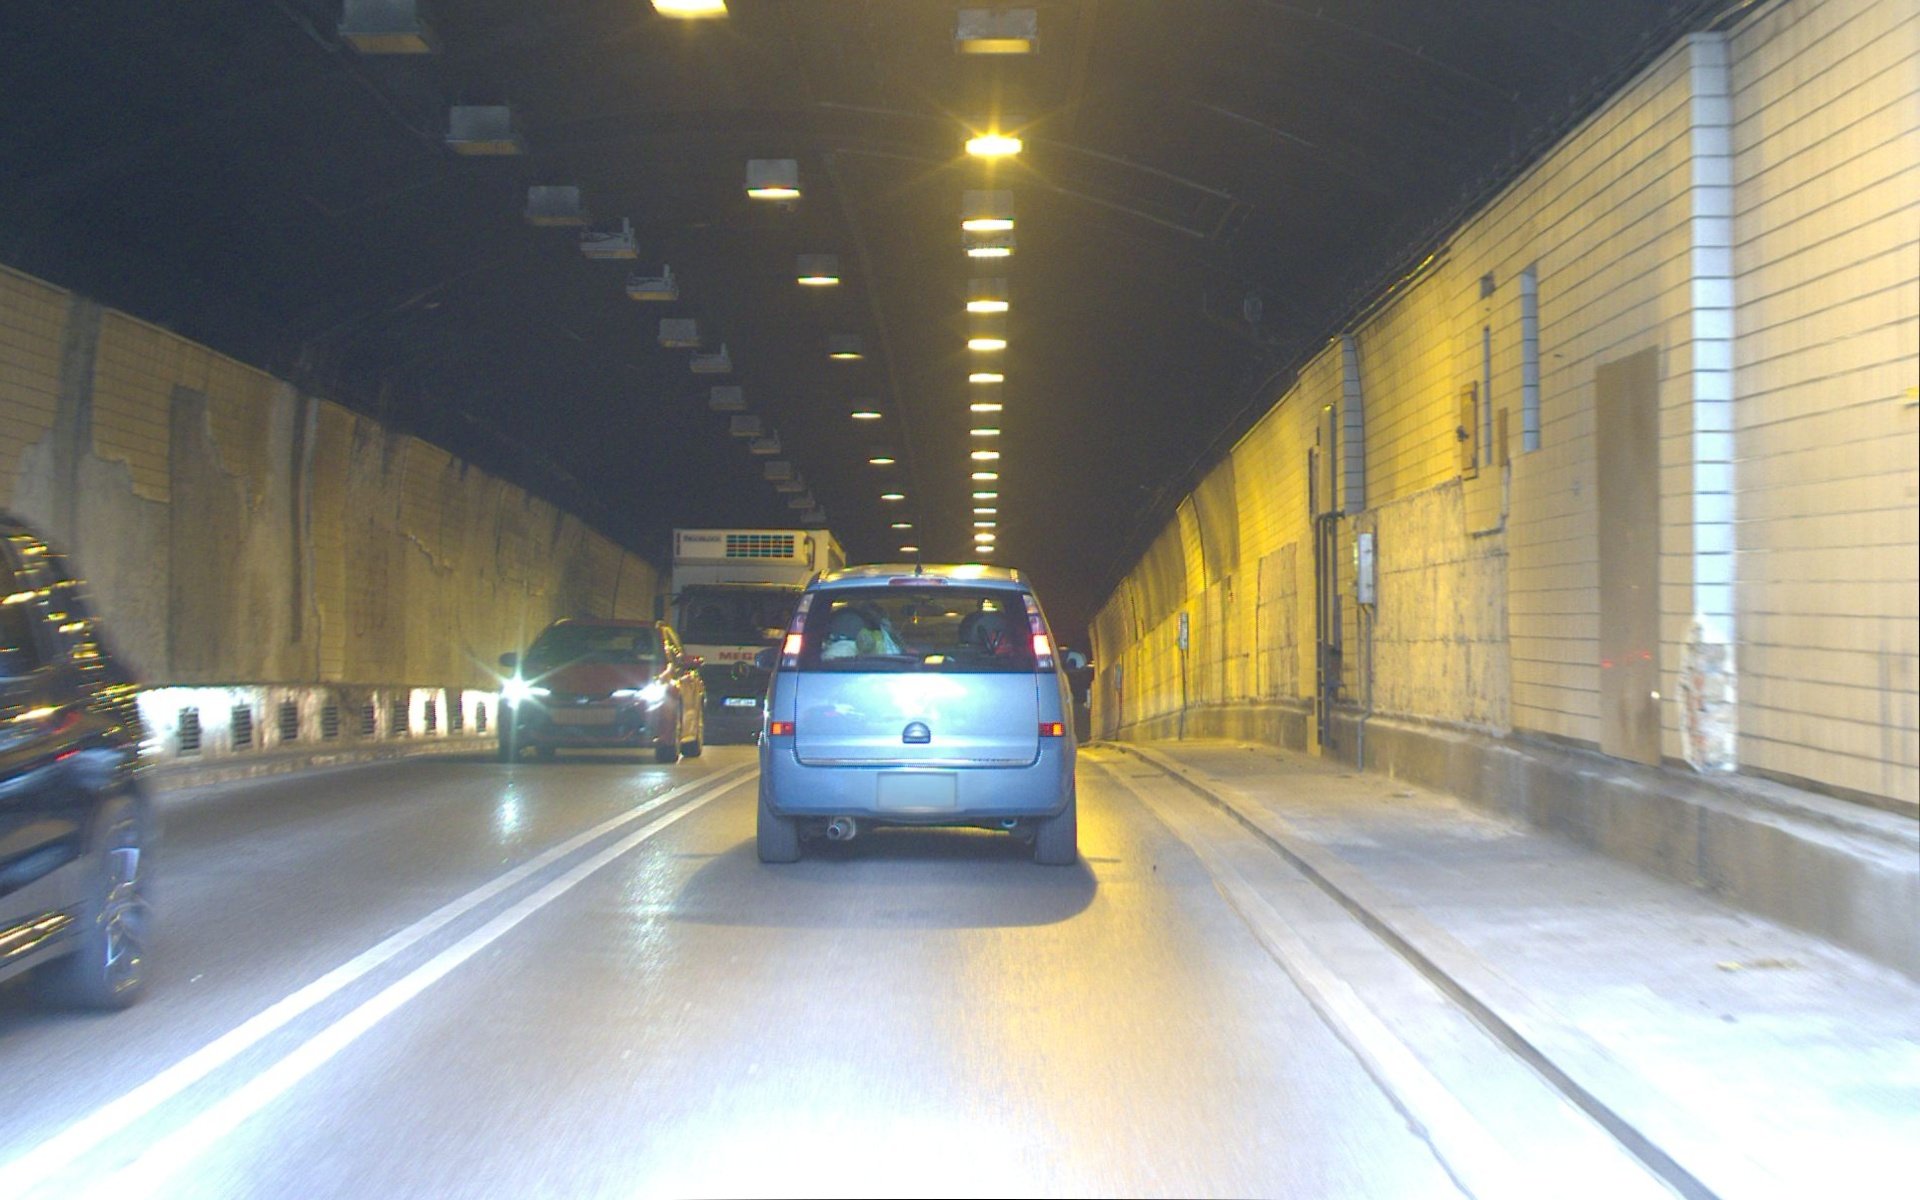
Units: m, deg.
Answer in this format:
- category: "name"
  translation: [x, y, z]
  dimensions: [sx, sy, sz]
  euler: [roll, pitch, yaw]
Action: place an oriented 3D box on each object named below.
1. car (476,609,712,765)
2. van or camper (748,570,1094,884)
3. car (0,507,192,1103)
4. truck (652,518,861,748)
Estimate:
- category: "car"
  translation: [-3.649, 0.866, 34.925]
  dimensions: [1.893, 1.464, 4.160]
  euler: [1, -1, 1]
- category: "van or camper"
  translation: [-0.226, 0.625, 19.189]
  dimensions: [1.735, 1.572, 3.646]
  euler: [0, 0, -1]
- category: "car"
  translation: [-3.626, 0.569, 9.838]
  dimensions: [1.879, 1.670, 4.377]
  euler: [0, 0, 0]
- category: "truck"
  translation: [-3.392, 0.677, 59.314]
  dimensions: [2.814, 3.704, 7.544]
  euler: [0, -2, 3]
